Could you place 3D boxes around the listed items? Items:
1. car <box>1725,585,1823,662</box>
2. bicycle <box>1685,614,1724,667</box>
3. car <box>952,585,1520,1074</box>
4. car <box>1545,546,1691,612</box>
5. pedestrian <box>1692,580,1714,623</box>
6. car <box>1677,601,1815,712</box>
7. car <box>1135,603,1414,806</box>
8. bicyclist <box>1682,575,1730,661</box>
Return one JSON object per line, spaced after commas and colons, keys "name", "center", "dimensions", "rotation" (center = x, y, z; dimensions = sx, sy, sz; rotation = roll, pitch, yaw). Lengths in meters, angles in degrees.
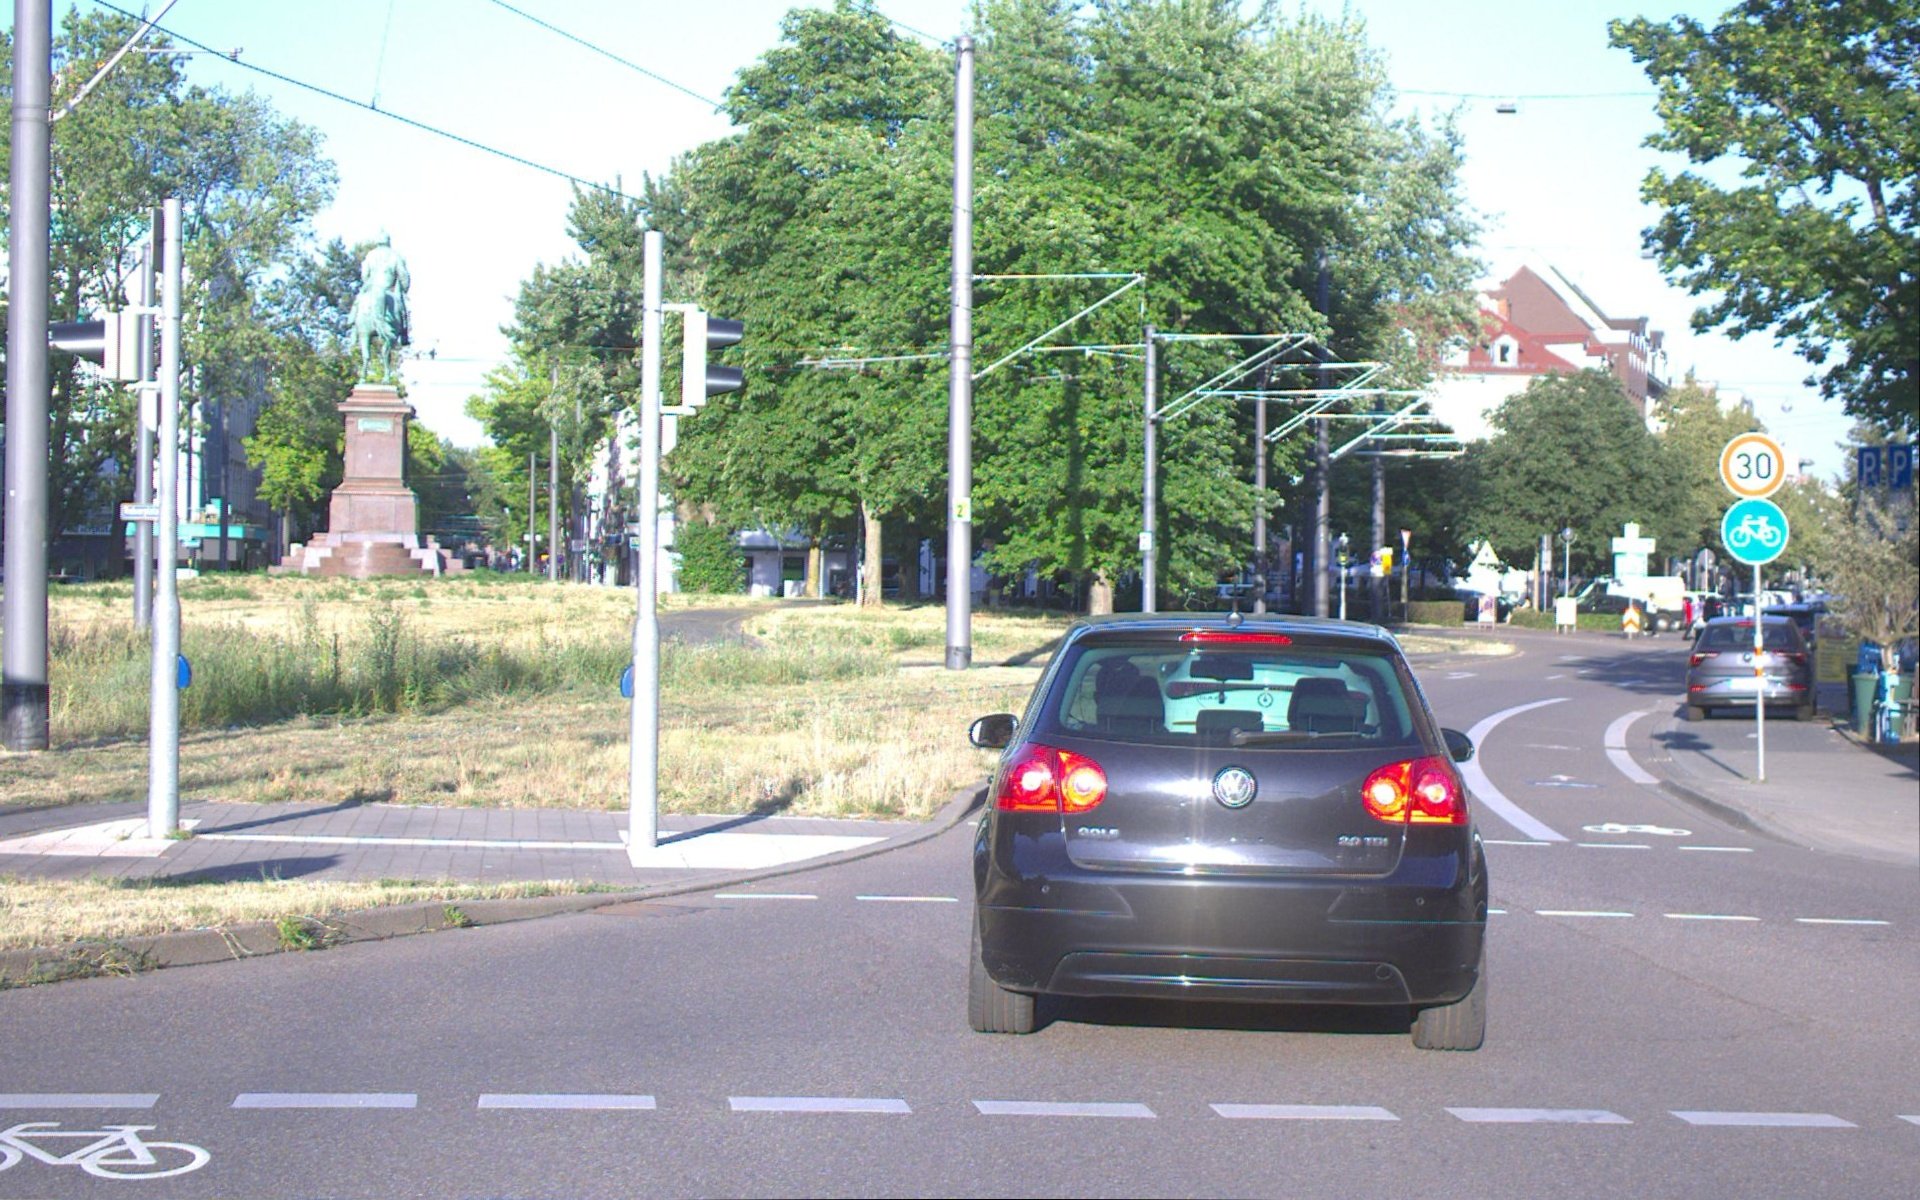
{"name": "car", "center": [17.441, 0.487, 73.539], "dimensions": [1.783, 1.551, 4.231], "rotation": [-1, 0, 16]}
{"name": "bicycle", "center": [14.330, 0.773, 66.115], "dimensions": [0.579, 0.984, 1.934], "rotation": [2, 1, 16]}
{"name": "car", "center": [1.027, 0.711, 12.911], "dimensions": [1.748, 1.456, 4.102], "rotation": [2, 1, 5]}
{"name": "car", "center": [27.475, -0.879, 143.669], "dimensions": [5.510, 2.586, 2.155], "rotation": [2, 0, -10]}
{"name": "pedestrian", "center": [26.790, 0.054, 124.006], "dimensions": [0.736, 1.549, 0.631], "rotation": [2, 0, 13]}
{"name": "car", "center": [11.182, 0.780, 48.775], "dimensions": [1.729, 1.467, 3.896], "rotation": [-1, 0, 15]}
{"name": "car", "center": [2.687, 0.810, 28.545], "dimensions": [1.866, 1.436, 4.195], "rotation": [0, 2, 11]}
{"name": "bicyclist", "center": [14.350, 0.348, 66.115], "dimensions": [0.777, 1.613, 1.024], "rotation": [3, 1, 16]}
